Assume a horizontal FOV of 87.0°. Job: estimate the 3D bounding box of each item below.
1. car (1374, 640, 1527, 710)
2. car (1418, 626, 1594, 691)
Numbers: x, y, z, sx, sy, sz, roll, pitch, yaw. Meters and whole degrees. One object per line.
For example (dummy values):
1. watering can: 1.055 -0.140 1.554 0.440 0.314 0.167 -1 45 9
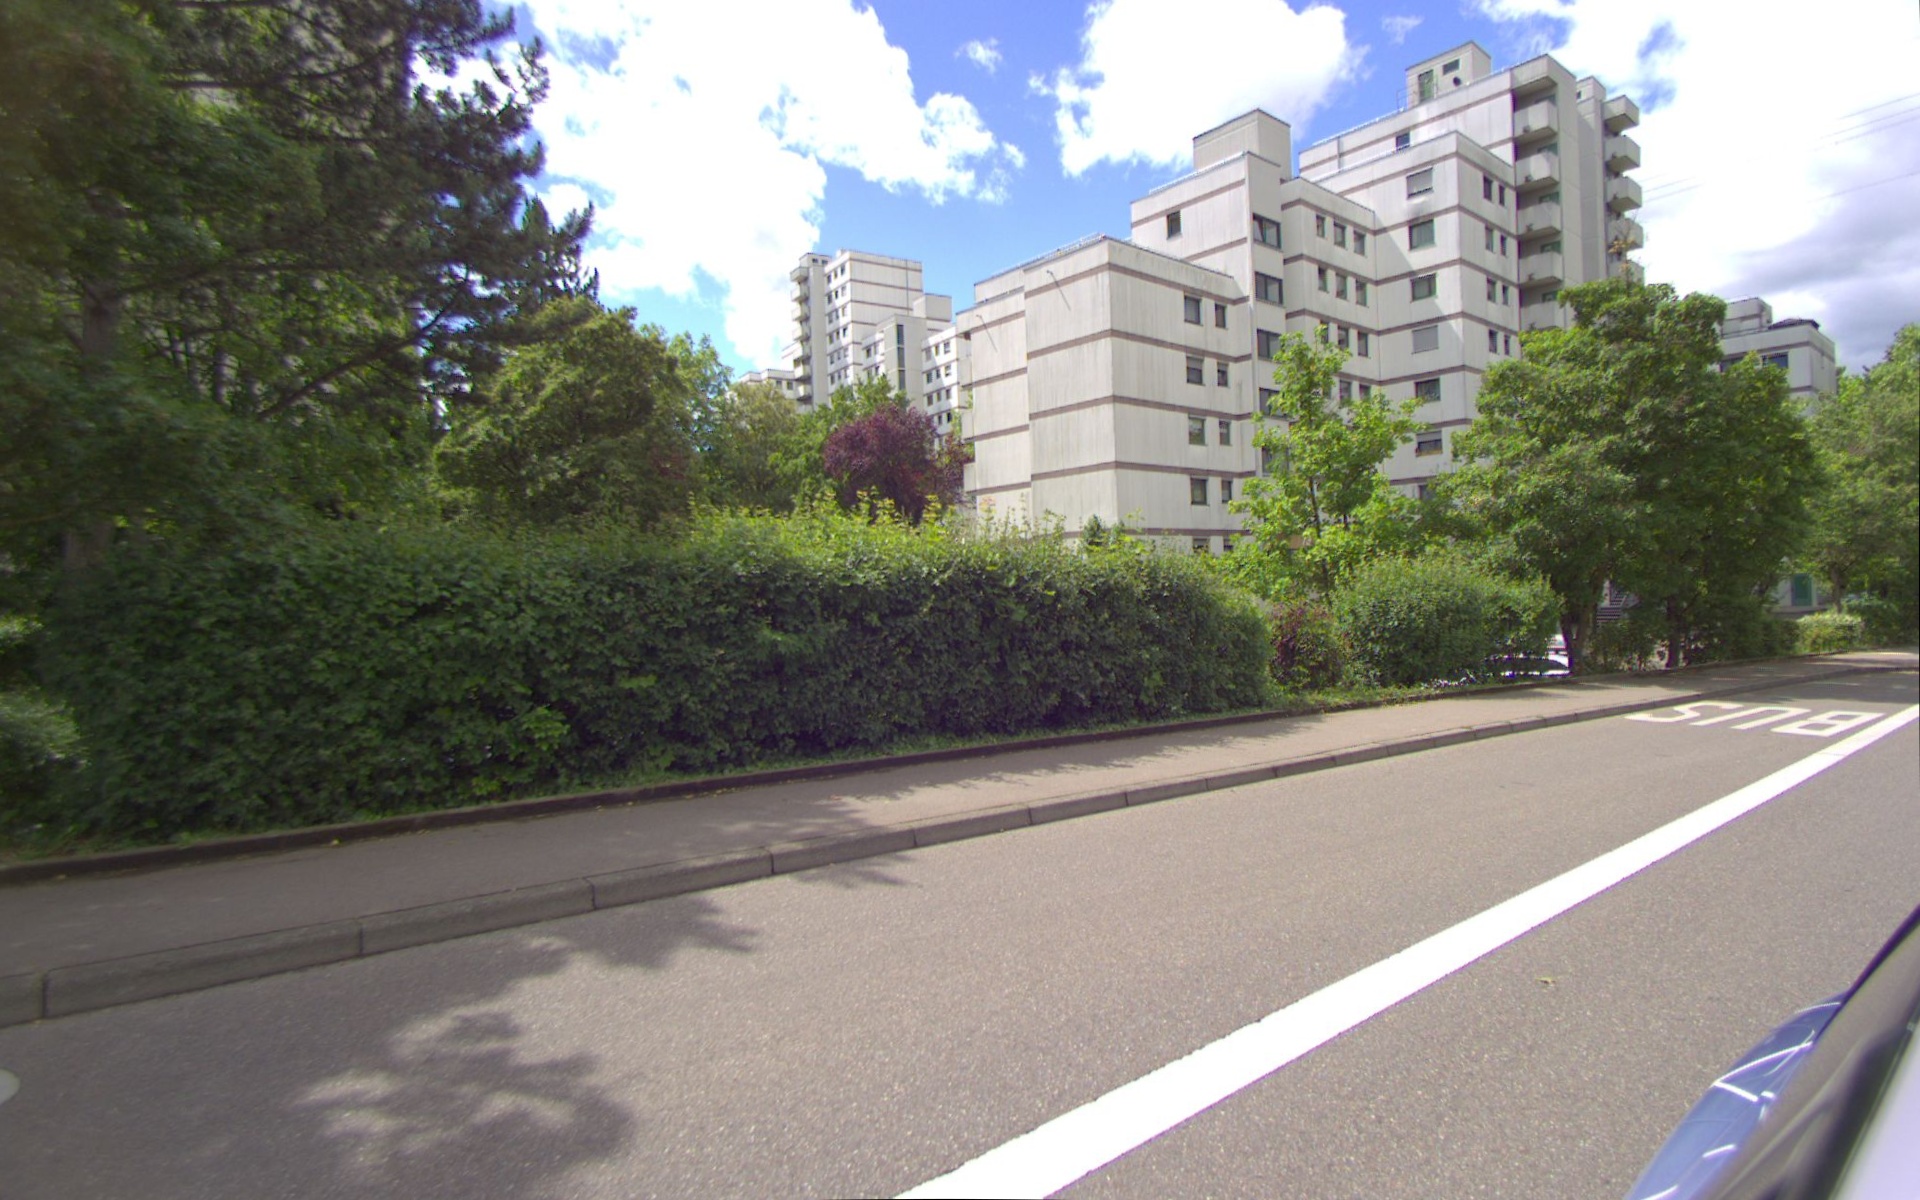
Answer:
1. car: 12.090 1.791 25.049 1.692 1.489 2.964 0 0 -37
2. car: 14.227 1.467 26.540 1.536 1.450 3.762 -2 1 -37
